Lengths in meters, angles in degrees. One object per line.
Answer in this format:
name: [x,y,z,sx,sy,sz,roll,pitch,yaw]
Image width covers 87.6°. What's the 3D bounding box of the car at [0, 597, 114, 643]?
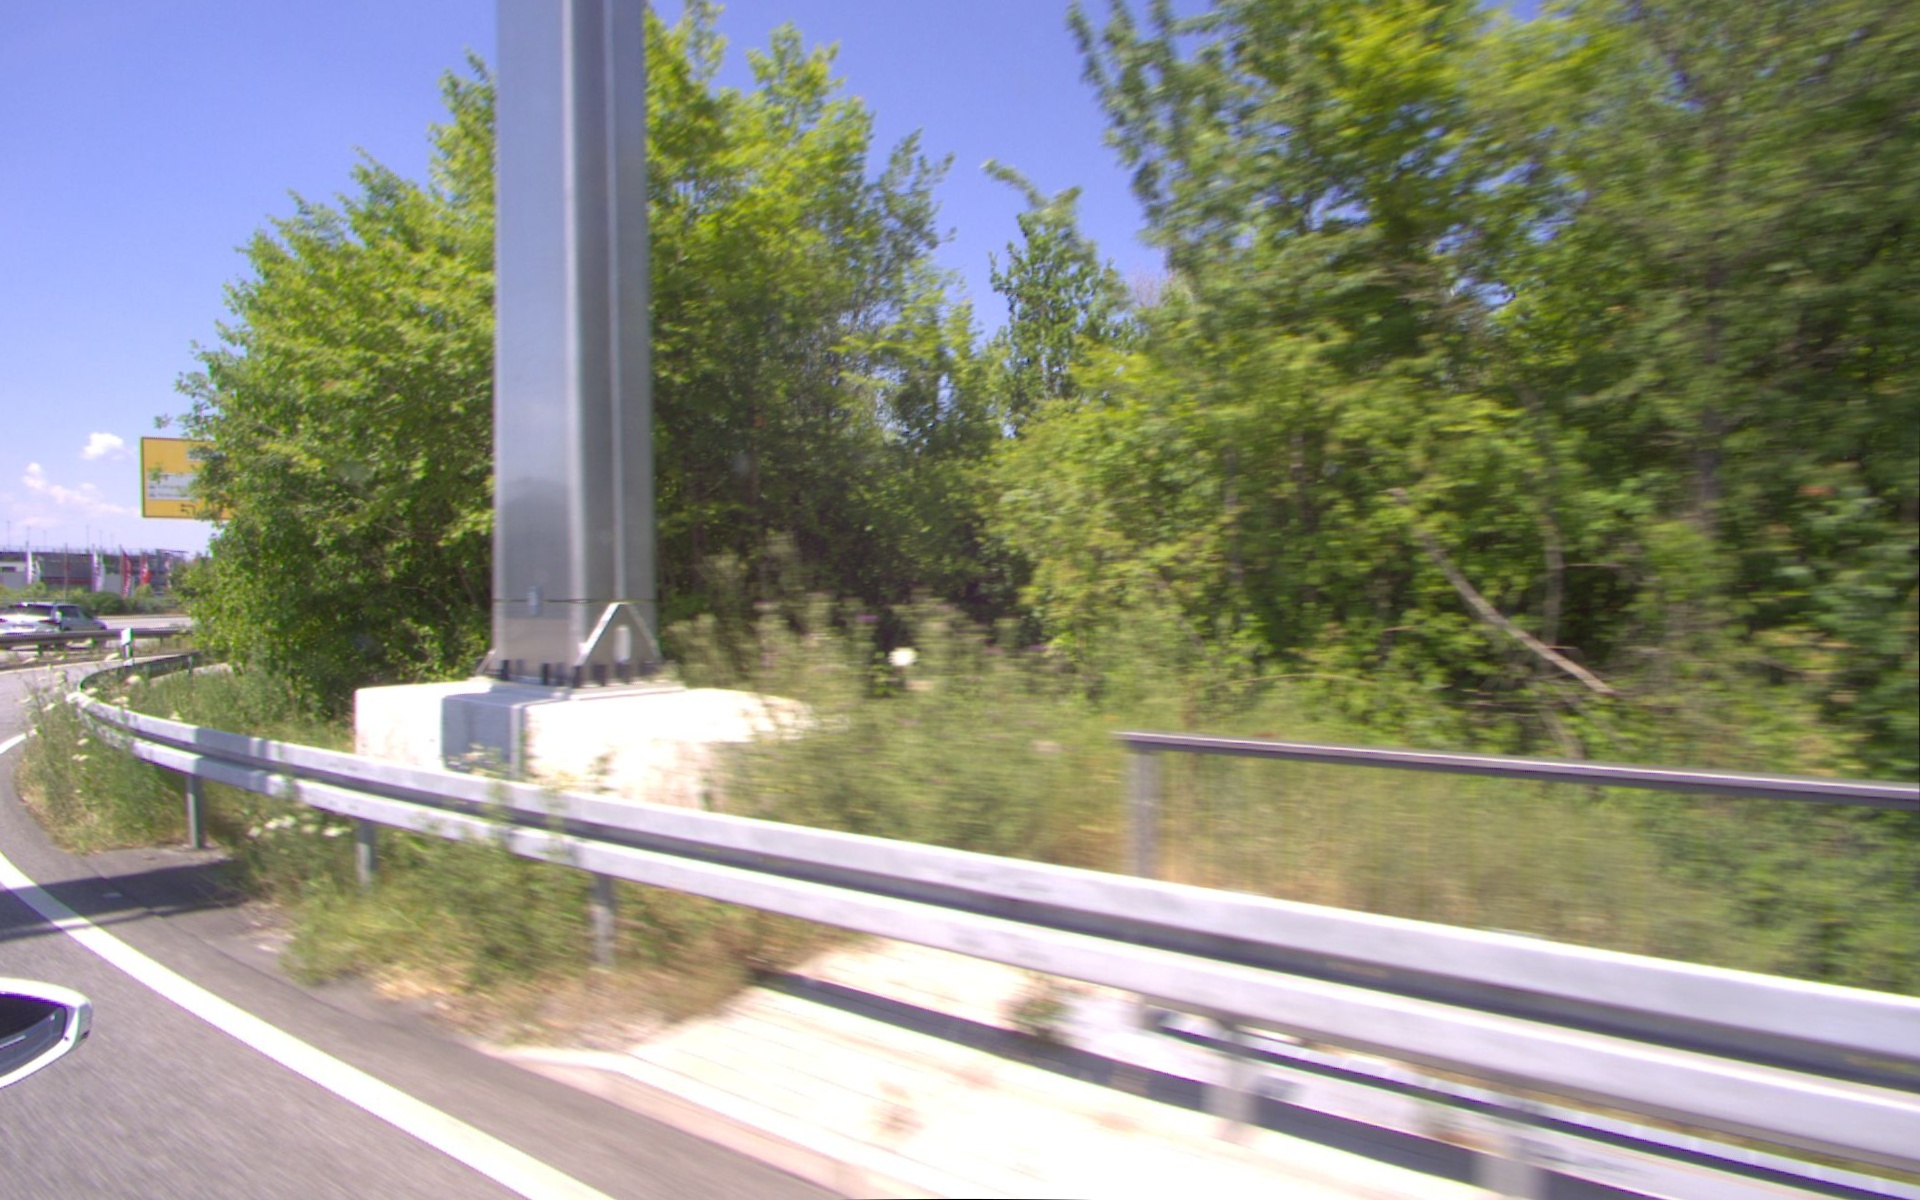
car: [-32.178,0.683,35.494,1.966,1.525,4.384,-1,0,-21]
